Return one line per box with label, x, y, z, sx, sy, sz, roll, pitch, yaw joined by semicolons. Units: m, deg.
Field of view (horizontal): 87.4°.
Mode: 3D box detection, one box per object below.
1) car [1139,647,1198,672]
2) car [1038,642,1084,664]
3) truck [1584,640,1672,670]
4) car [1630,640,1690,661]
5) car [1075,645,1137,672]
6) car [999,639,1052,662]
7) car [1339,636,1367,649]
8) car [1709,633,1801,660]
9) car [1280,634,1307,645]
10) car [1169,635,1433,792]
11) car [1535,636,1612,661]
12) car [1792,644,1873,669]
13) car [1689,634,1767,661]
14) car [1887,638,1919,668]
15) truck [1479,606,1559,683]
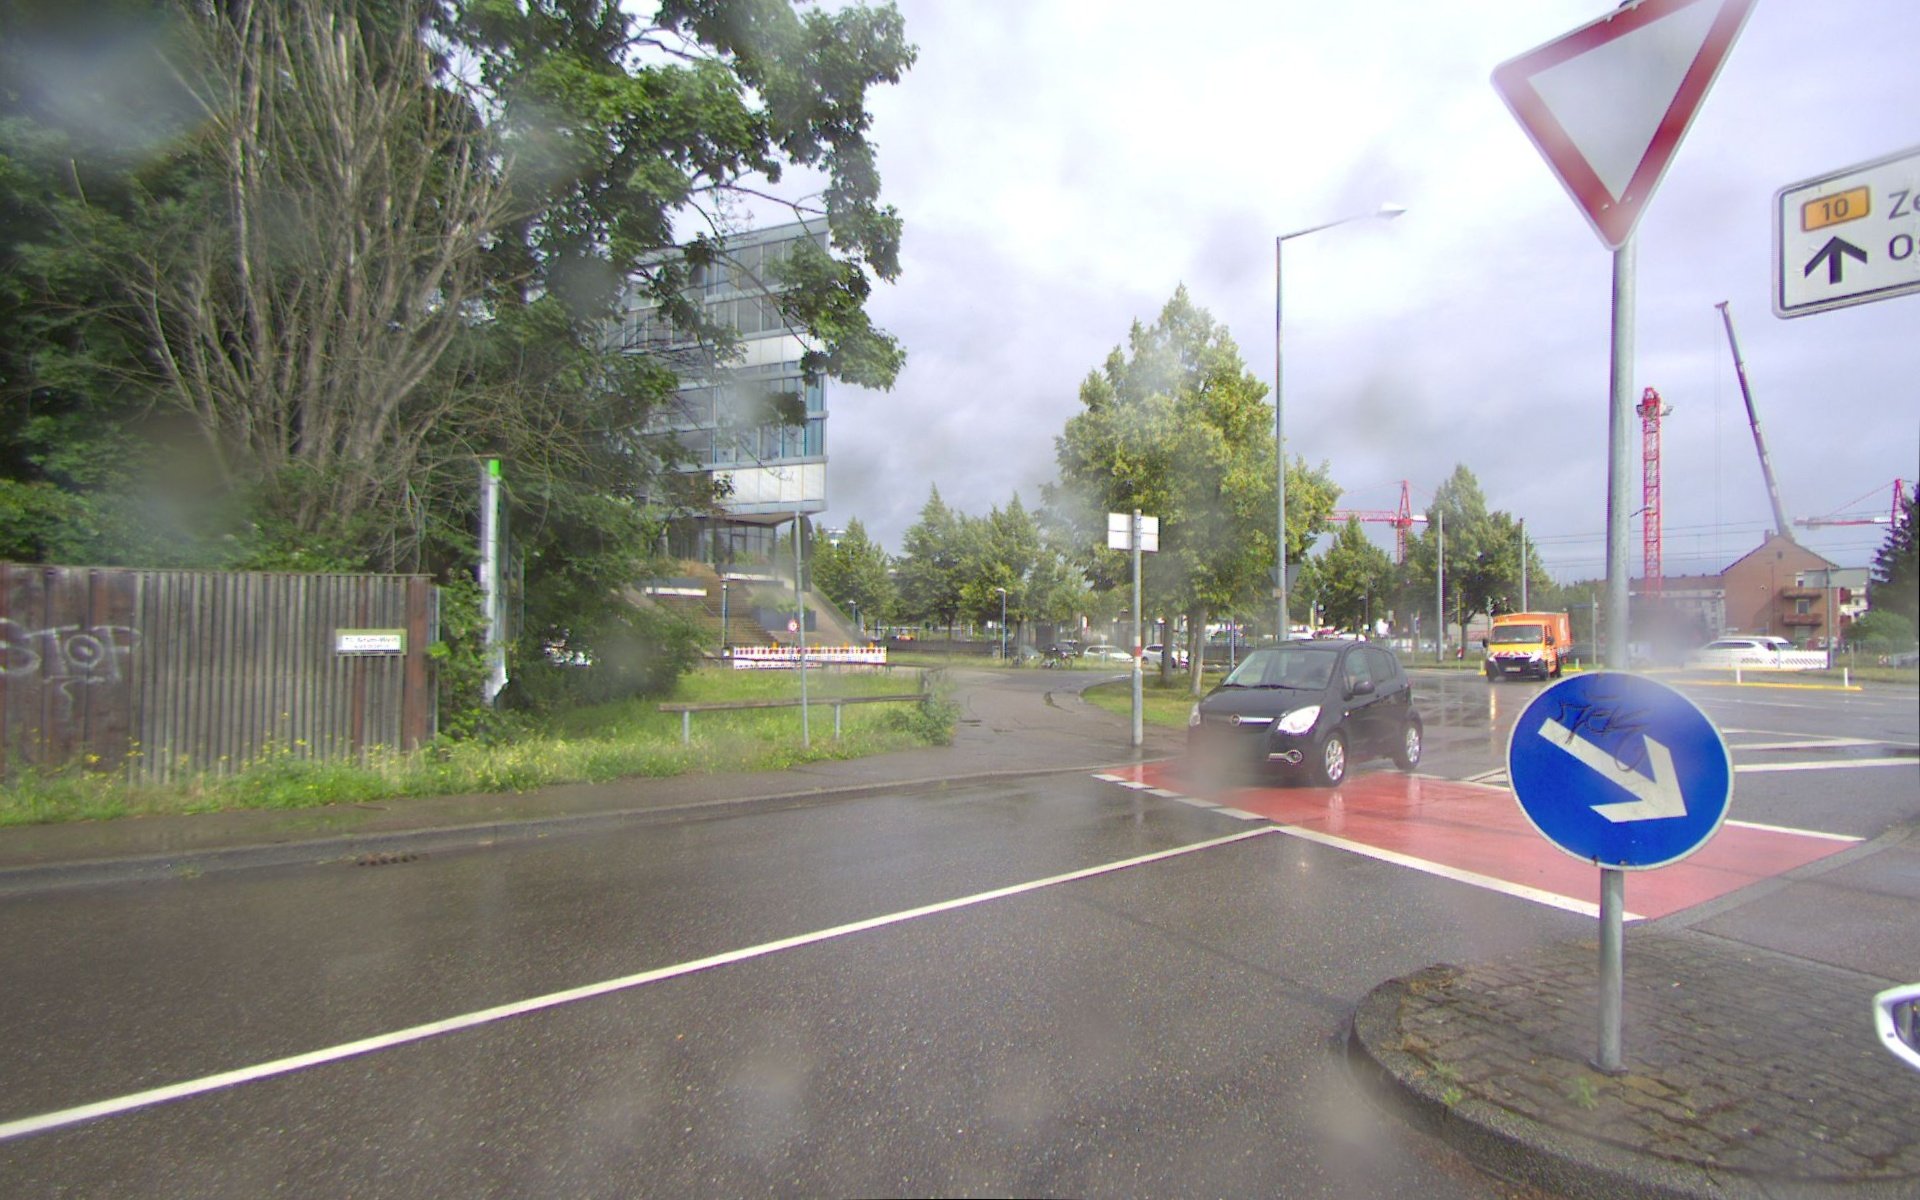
car;13.405;3.814;64.717;1.704;1.528;3.879;1;-2;-26
car;7.601;3.995;76.135;1.704;1.528;3.879;1;-2;-26
truck;57.396;4.672;86.453;2.361;2.241;6.074;2;0;-19
car;62.752;4.515;90.059;1.903;1.723;3.976;2;0;-24
car;9.496;3.826;65.580;1.842;1.693;4.442;1;-4;-26
car;4.813;3.751;74.330;1.844;1.693;4.438;1;-4;-29
car;55.363;5.983;141.551;1.482;1.745;3.572;1;-2;-30
car;70.537;4.089;89.262;2.013;2.113;6.233;2;0;-21
car;46.792;5.521;141.085;1.530;1.581;3.475;1;-2;-28
car;4.123;1.220;11.903;1.612;1.553;3.436;-3;-4;44
car;38.301;3.019;62.757;3.937;1.537;1.796;-1;-2;37
car;62.524;4.038;72.044;3.919;1.706;2.001;0;-2;5
car;44.435;2.729;58.214;3.439;1.530;1.497;-1;-2;32
car;52.965;2.895;54.458;3.604;1.581;1.575;0;-1;15
truck;22.194;1.727;39.722;2.419;2.762;6.930;-1;-2;32
